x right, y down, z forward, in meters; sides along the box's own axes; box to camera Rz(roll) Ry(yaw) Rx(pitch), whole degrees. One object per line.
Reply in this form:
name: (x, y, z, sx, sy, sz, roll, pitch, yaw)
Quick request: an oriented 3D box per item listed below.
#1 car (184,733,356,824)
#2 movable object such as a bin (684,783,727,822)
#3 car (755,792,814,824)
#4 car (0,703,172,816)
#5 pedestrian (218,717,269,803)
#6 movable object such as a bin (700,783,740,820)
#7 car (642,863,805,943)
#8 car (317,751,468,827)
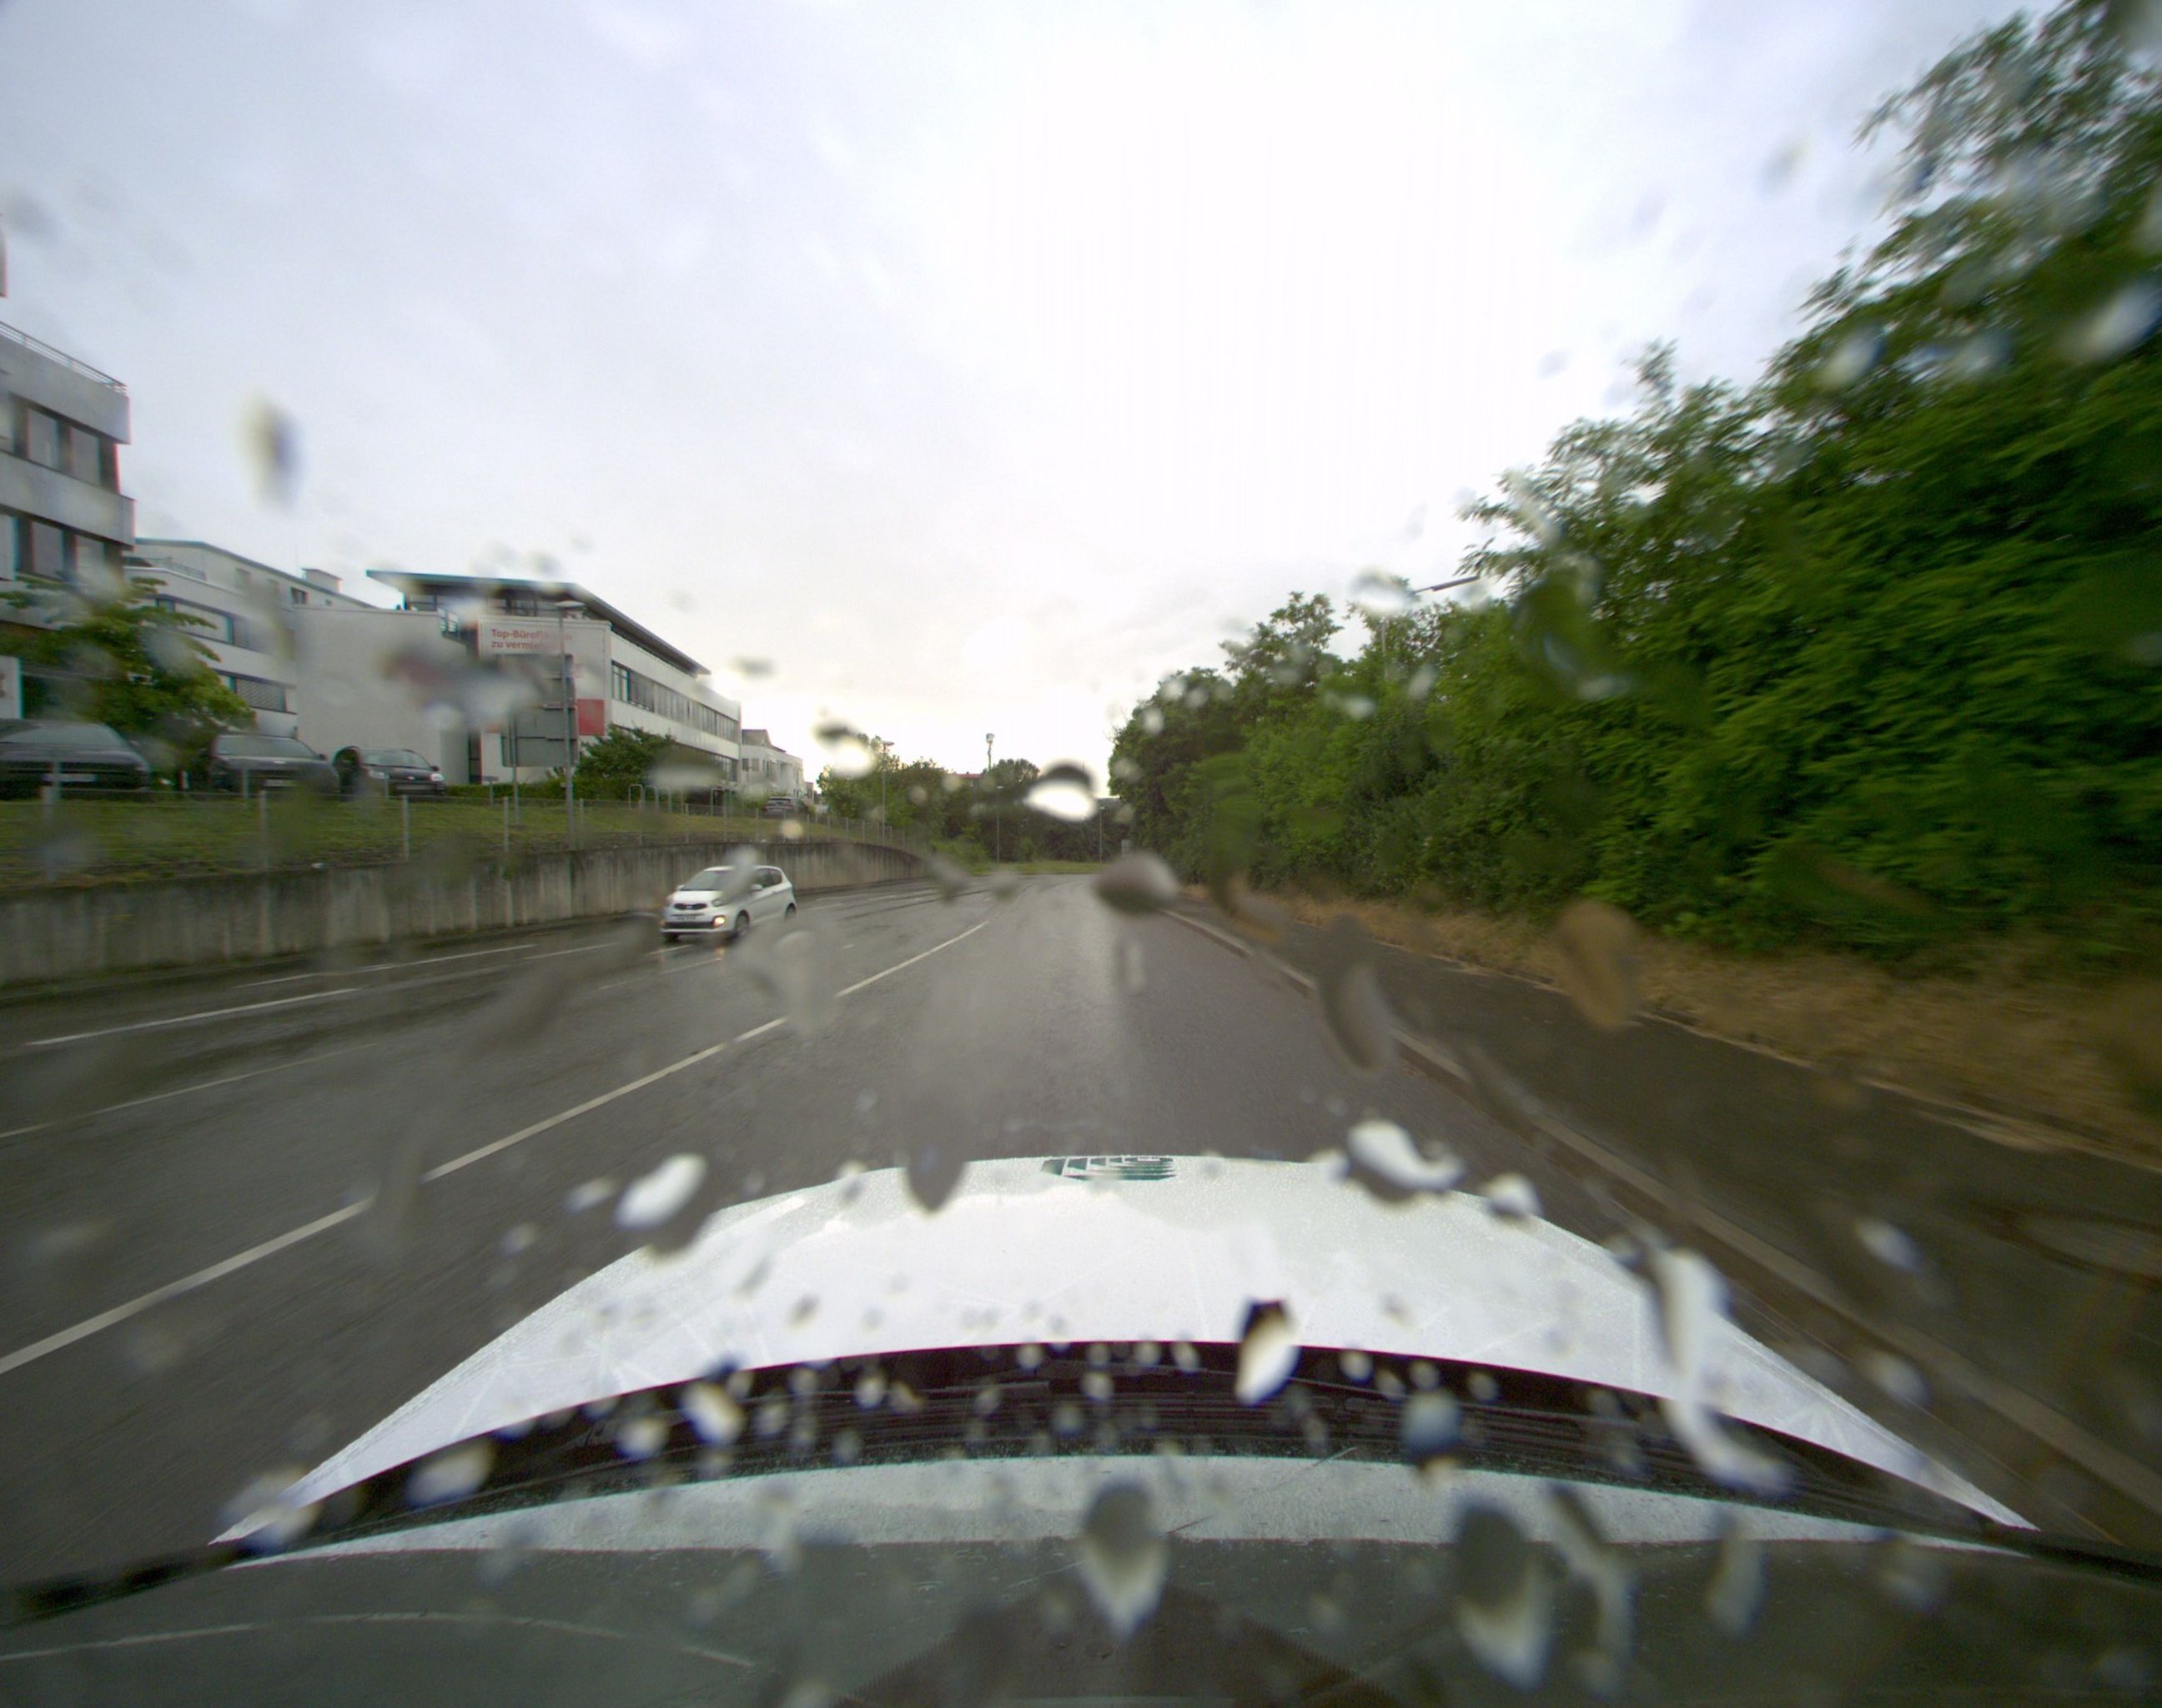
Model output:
car: (-17.124, -1.475, 17.160, 3.948, 1.586, 1.914, 1, -1, 36)
movable object such as a bin: (-15.095, -2.063, 32.784, 1.081, 1.437, 1.445, 1, -1, -3)
car: (-15.821, -2.419, 43.645, 1.823, 1.442, 3.995, 1, 0, -3)
car: (-17.608, -1.509, 14.013, 3.949, 1.586, 1.914, 1, -1, 32)
pedestrian: (-15.641, -1.741, 15.220, 0.514, 1.550, 0.505, 0, 0, 22)
movable object such as a bin: (-15.156, -2.191, 34.240, 1.081, 1.437, 1.445, 1, -1, -3)
car: (-7.539, 0.963, 17.583, 1.645, 1.429, 3.797, 0, 1, 4)
car: (-17.098, -1.521, 20.176, 3.948, 1.586, 1.914, 1, -1, 36)
